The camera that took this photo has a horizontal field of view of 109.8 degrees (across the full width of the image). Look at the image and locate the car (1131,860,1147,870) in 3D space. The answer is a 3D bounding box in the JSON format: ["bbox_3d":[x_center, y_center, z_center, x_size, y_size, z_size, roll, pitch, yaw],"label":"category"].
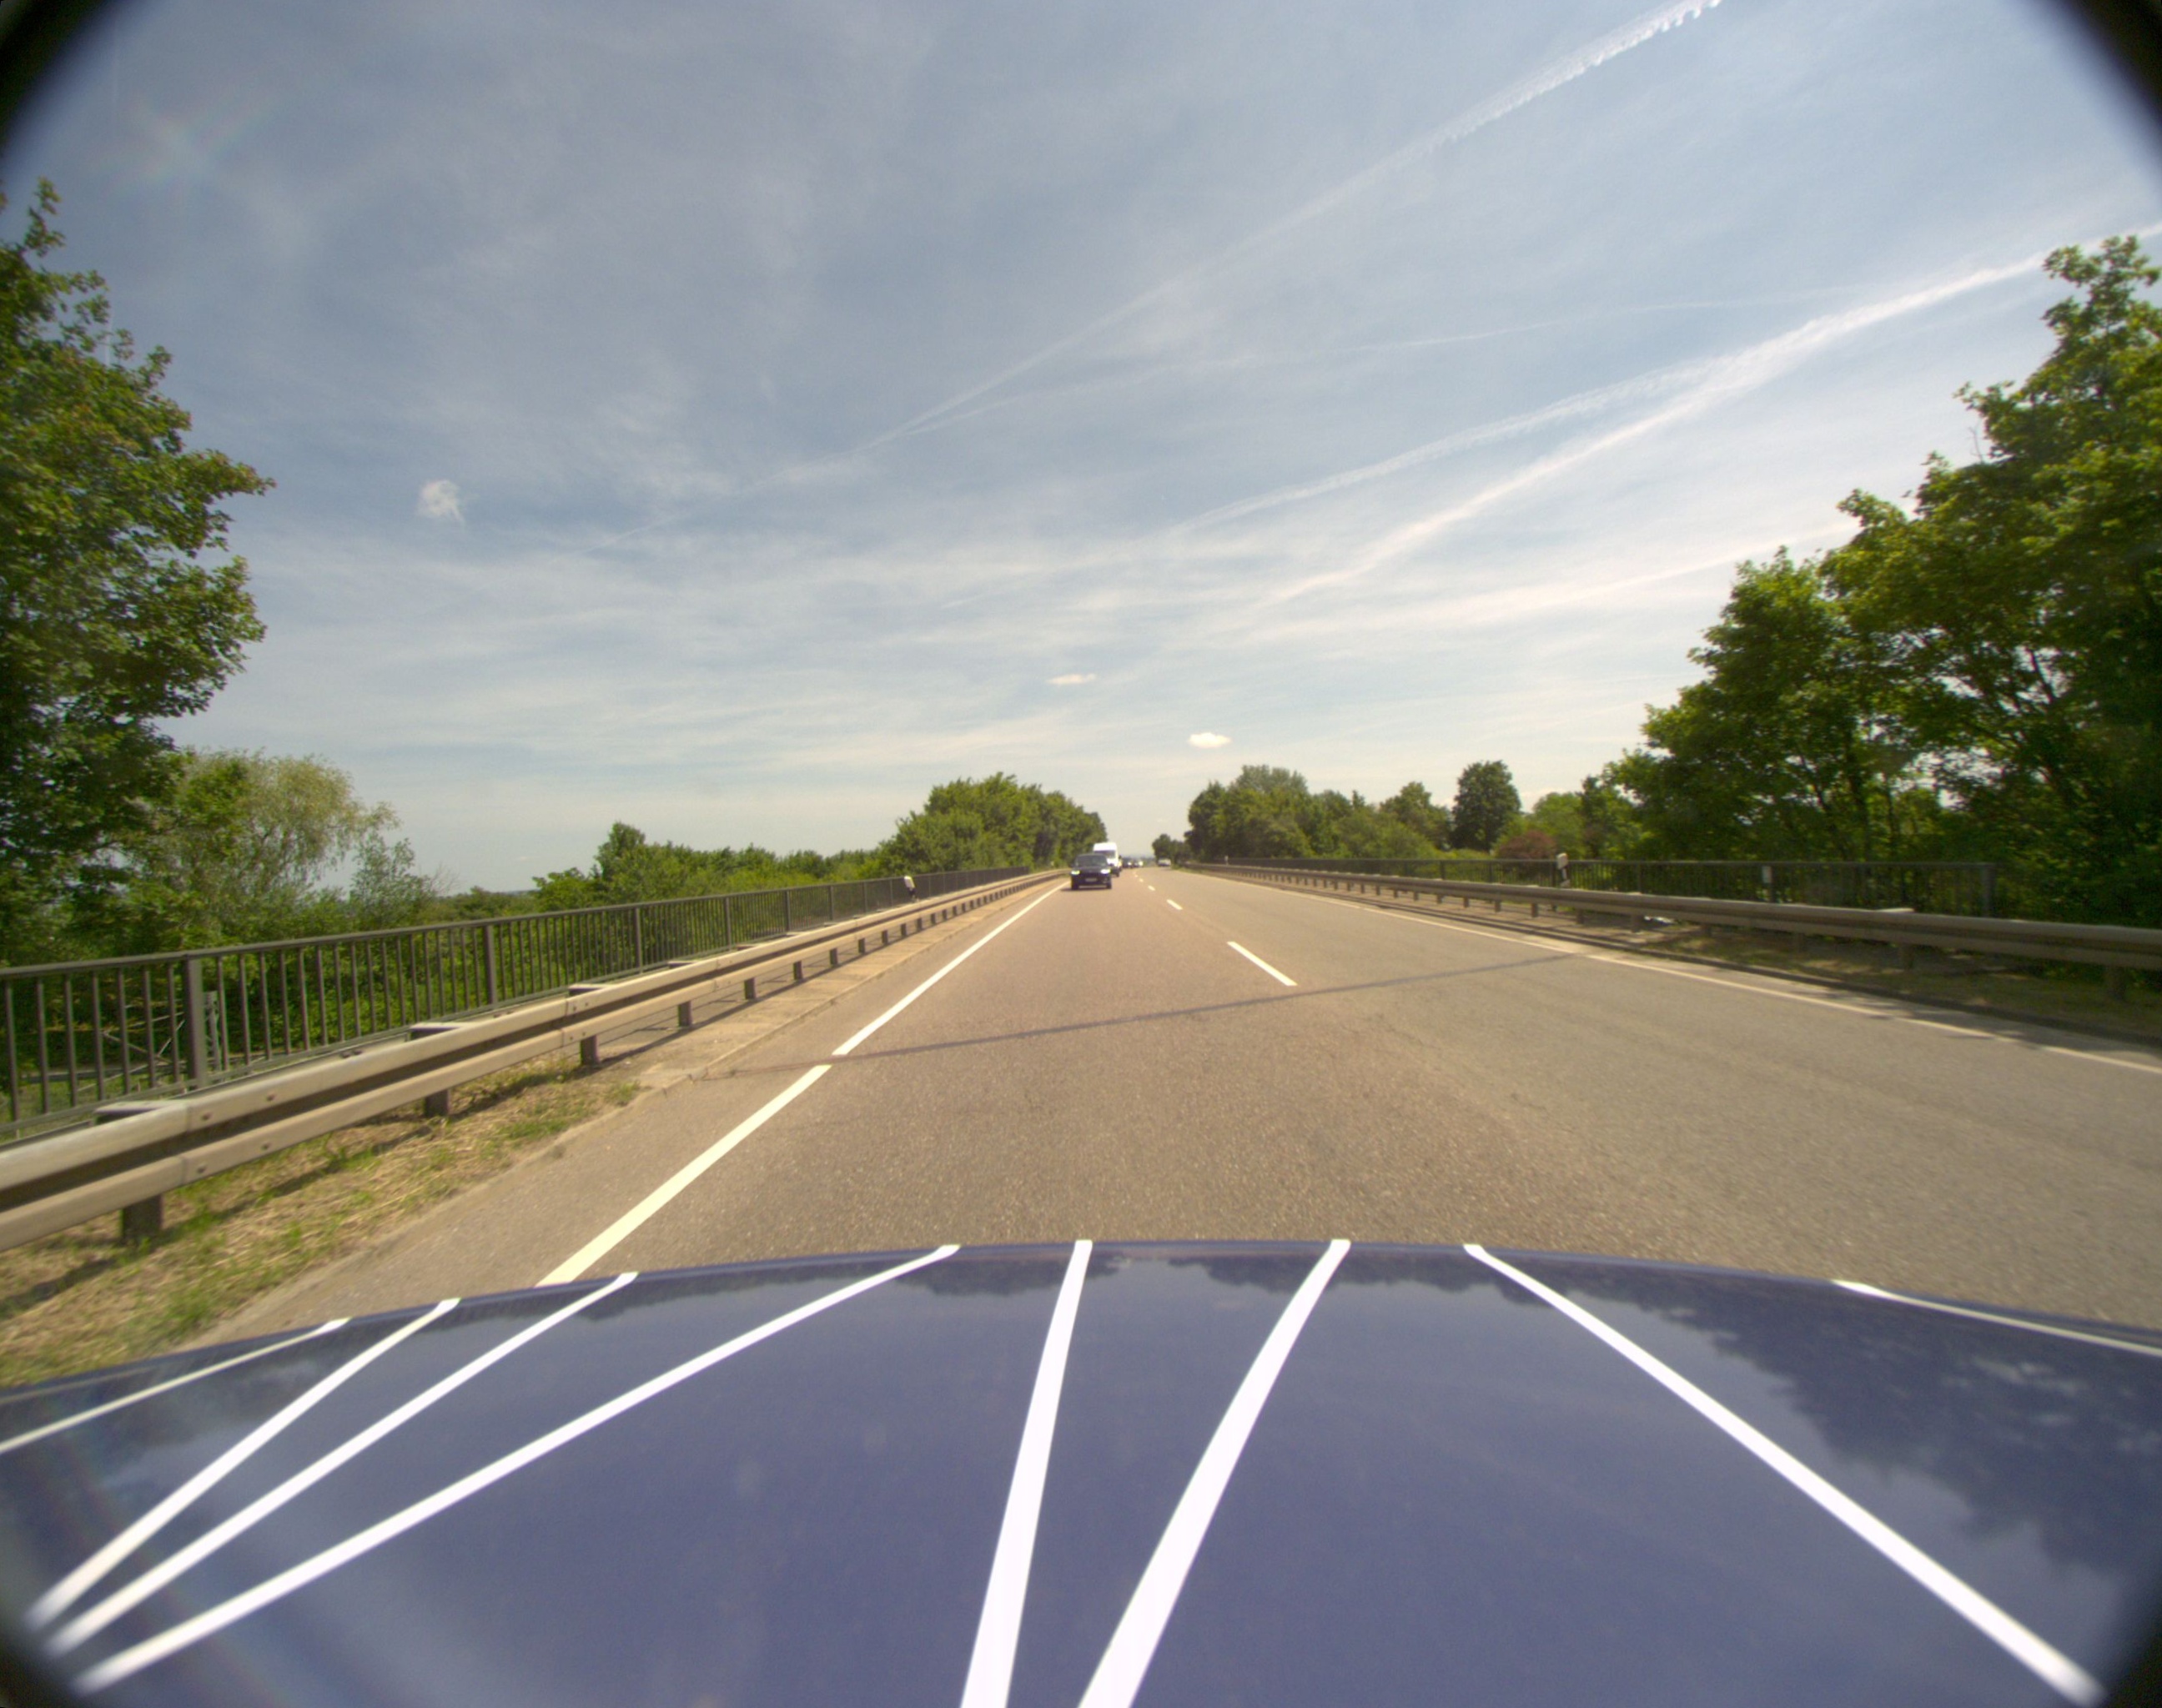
[{"bbox_3d":[9.270,1.744,121.297,2.037,1.641,4.748,-1,0,11],"label":"car"}]

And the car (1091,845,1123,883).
[{"bbox_3d":[2.068,0.724,58.161,2.225,2.617,5.753,-2,1,3],"label":"car"}]

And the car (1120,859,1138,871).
[{"bbox_3d":[6.699,1.515,105.568,2.038,1.641,4.747,-1,0,8],"label":"car"}]

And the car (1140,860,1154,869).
[{"bbox_3d":[12.512,1.969,143.712,2.037,1.641,4.749,-1,0,13],"label":"car"}]

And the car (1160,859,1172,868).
[{"bbox_3d":[15.512,1.725,138.753,1.882,1.502,4.547,-1,0,10],"label":"car"}]

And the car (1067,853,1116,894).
[{"bbox_3d":[0.513,0.918,34.875,2.039,1.690,5.515,-1,-2,1],"label":"car"}]
